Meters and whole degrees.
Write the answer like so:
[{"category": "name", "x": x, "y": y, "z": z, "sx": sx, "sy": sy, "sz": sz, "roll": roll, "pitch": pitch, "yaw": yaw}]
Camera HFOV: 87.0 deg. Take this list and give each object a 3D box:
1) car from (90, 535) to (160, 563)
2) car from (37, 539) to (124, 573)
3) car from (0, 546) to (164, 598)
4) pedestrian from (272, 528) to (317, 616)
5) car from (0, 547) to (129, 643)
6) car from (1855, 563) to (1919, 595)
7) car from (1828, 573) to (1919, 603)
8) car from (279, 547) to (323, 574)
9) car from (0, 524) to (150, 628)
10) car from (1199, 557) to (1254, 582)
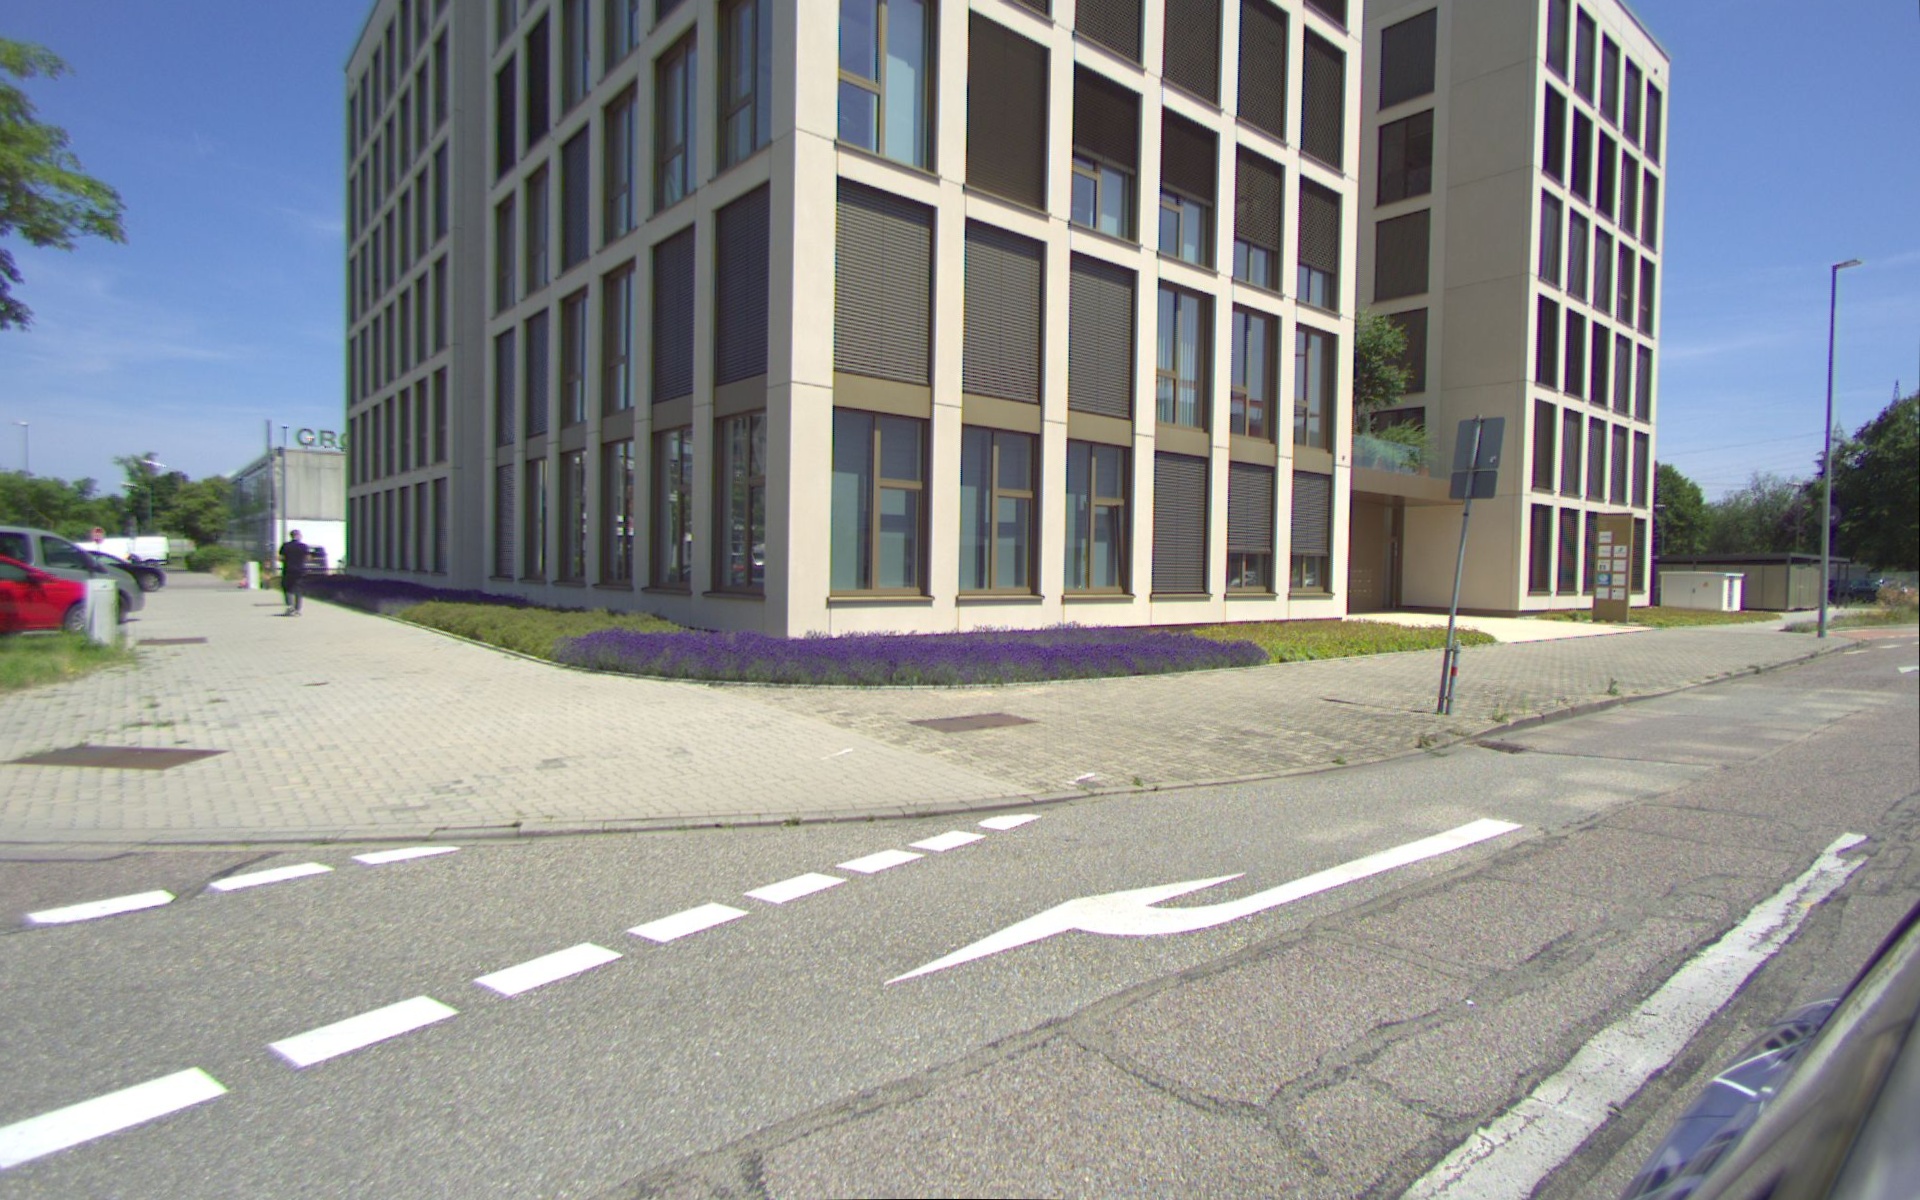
[{"category": "car", "x": -67.508, "y": -4.083, "z": 81.899, "sx": 4.280, "sy": 2.146, "sz": 2.094, "roll": 0, "pitch": 2, "yaw": -37}, {"category": "car", "x": -54.957, "y": -2.720, "z": 63.350, "sx": 3.925, "sy": 2.038, "sz": 2.000, "roll": 0, "pitch": 2, "yaw": -36}, {"category": "car", "x": -29.187, "y": -0.975, "z": 33.479, "sx": 1.792, "sy": 1.557, "sz": 4.131, "roll": 0, "pitch": 3, "yaw": 19}, {"category": "pedestrian", "x": -14.570, "y": -0.621, "z": 22.177, "sx": 0.758, "sy": 1.867, "sz": 0.869, "roll": -1, "pitch": 3, "yaw": -32}, {"category": "car", "x": -15.405, "y": -0.088, "z": 15.594, "sx": 1.584, "sy": 1.452, "sz": 3.991, "roll": 1, "pitch": 2, "yaw": 9}, {"category": "car", "x": 59.202, "y": -1.318, "z": 63.560, "sx": 3.958, "sy": 1.977, "sz": 1.984, "roll": 2, "pitch": 2, "yaw": 25}, {"category": "car", "x": 55.702, "y": -0.740, "z": 61.579, "sx": 3.960, "sy": 1.682, "sz": 1.822, "roll": 2, "pitch": 3, "yaw": 26}, {"category": "car", "x": -37.965, "y": -2.288, "z": 58.292, "sx": 1.758, "sy": 1.540, "sz": 3.574, "roll": -1, "pitch": 3, "yaw": -39}, {"category": "car", "x": -17.741, "y": -0.465, "z": 18.429, "sx": 1.676, "sy": 1.838, "sz": 4.899, "roll": 1, "pitch": 2, "yaw": 7}, {"category": "car", "x": 21.055, "y": -2.396, "z": 80.036, "sx": 3.921, "sy": 1.874, "sz": 2.002, "roll": 0, "pitch": 2, "yaw": -31}]
